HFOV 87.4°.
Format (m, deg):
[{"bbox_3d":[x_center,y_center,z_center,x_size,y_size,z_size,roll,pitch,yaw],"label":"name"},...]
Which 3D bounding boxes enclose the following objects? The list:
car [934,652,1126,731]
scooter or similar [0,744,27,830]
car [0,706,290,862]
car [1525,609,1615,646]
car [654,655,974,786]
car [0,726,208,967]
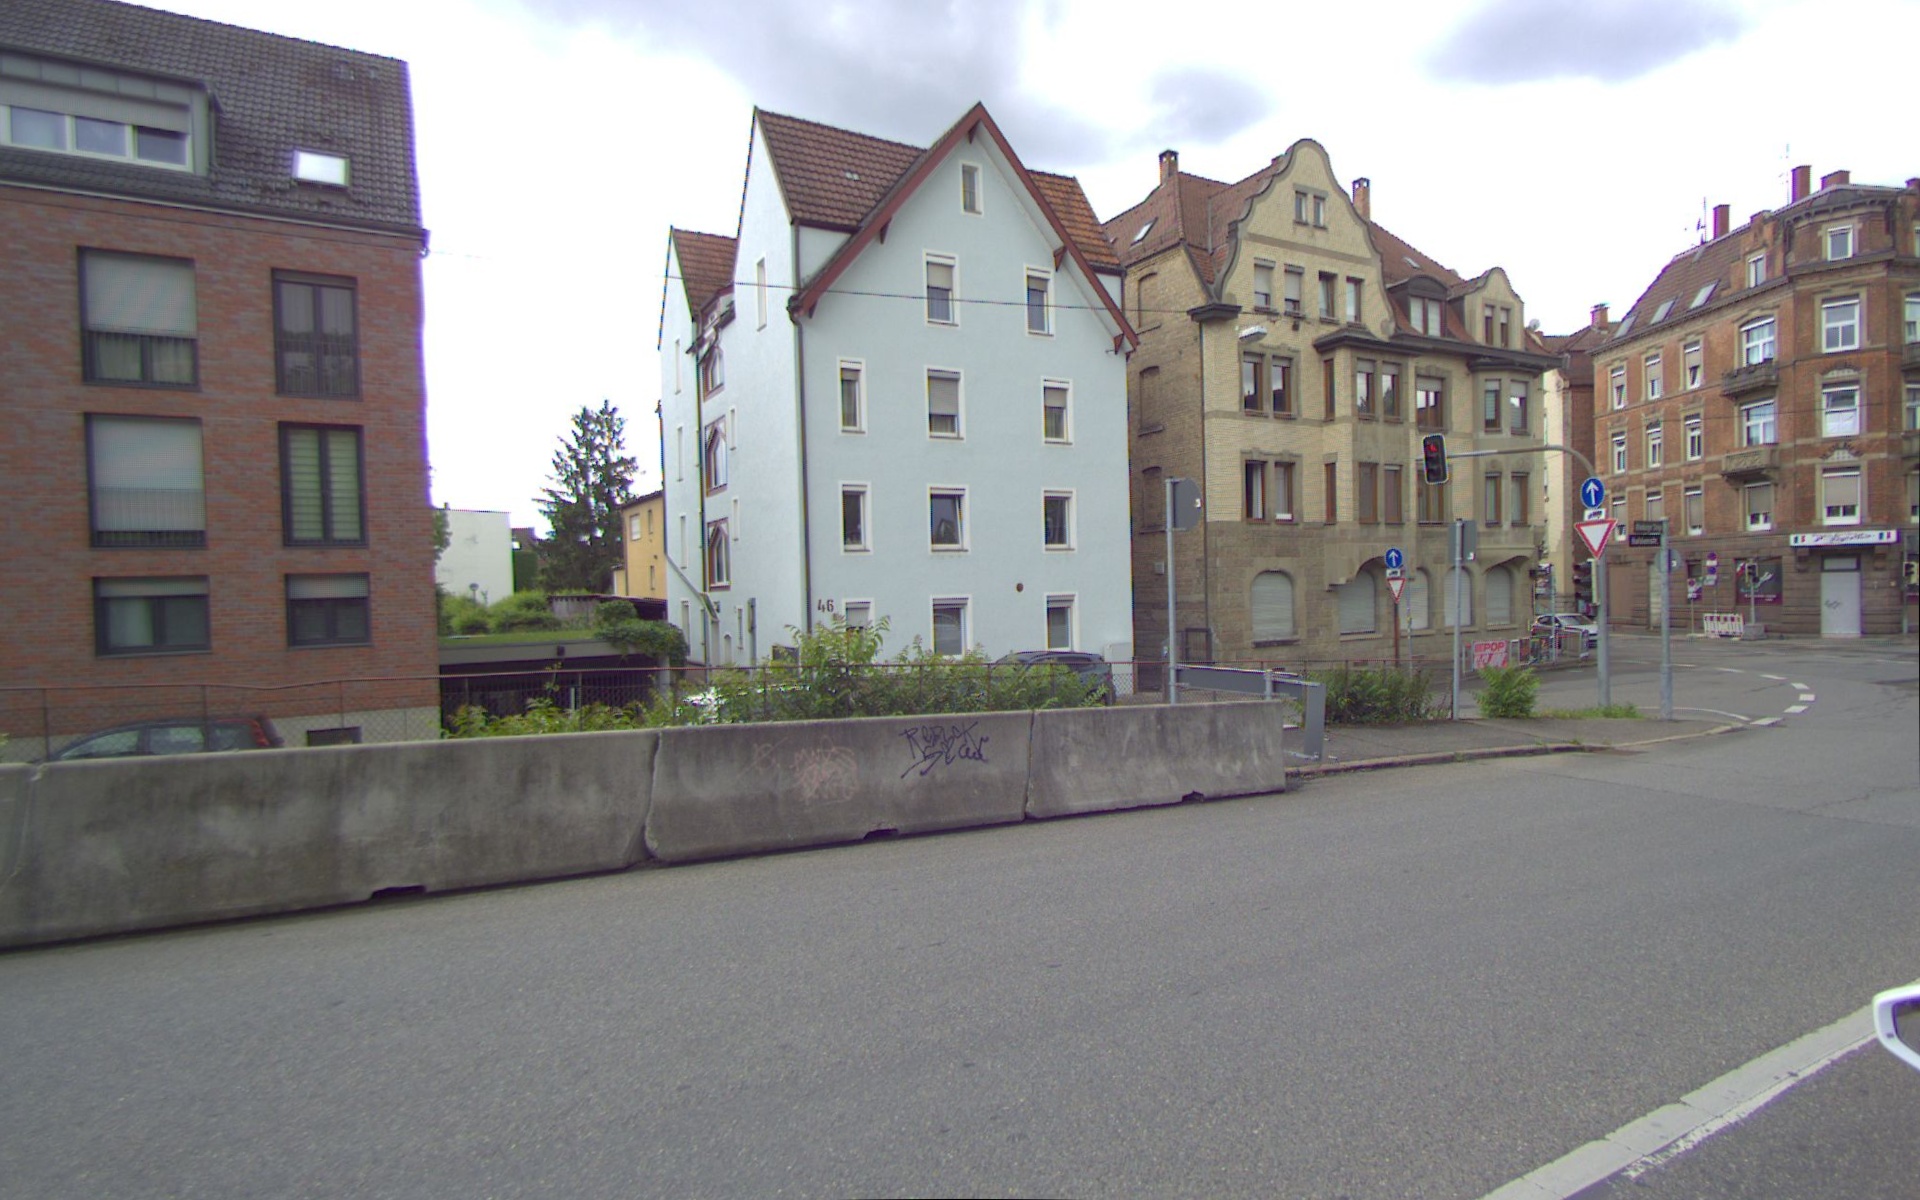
[{"bbox_3d":[1.622,2.014,22.917,4.184,1.575,1.674,1,-3,-31],"label":"car"},{"bbox_3d":[-15.293,2.925,15.514,1.212,1.258,0.376,0,1,-30],"label":"scooter or similar"},{"bbox_3d":[-12.456,2.686,15.198,3.722,1.825,1.706,1,1,-30],"label":"car"},{"bbox_3d":[27.225,1.190,44.976,1.643,1.487,3.641,1,0,-3],"label":"car"},{"bbox_3d":[-2.119,1.665,14.936,4.371,1.534,1.819,1,0,-30],"label":"car"},{"bbox_3d":[-8.196,1.913,7.529,3.956,1.534,1.526,1,0,-33],"label":"car"}]
